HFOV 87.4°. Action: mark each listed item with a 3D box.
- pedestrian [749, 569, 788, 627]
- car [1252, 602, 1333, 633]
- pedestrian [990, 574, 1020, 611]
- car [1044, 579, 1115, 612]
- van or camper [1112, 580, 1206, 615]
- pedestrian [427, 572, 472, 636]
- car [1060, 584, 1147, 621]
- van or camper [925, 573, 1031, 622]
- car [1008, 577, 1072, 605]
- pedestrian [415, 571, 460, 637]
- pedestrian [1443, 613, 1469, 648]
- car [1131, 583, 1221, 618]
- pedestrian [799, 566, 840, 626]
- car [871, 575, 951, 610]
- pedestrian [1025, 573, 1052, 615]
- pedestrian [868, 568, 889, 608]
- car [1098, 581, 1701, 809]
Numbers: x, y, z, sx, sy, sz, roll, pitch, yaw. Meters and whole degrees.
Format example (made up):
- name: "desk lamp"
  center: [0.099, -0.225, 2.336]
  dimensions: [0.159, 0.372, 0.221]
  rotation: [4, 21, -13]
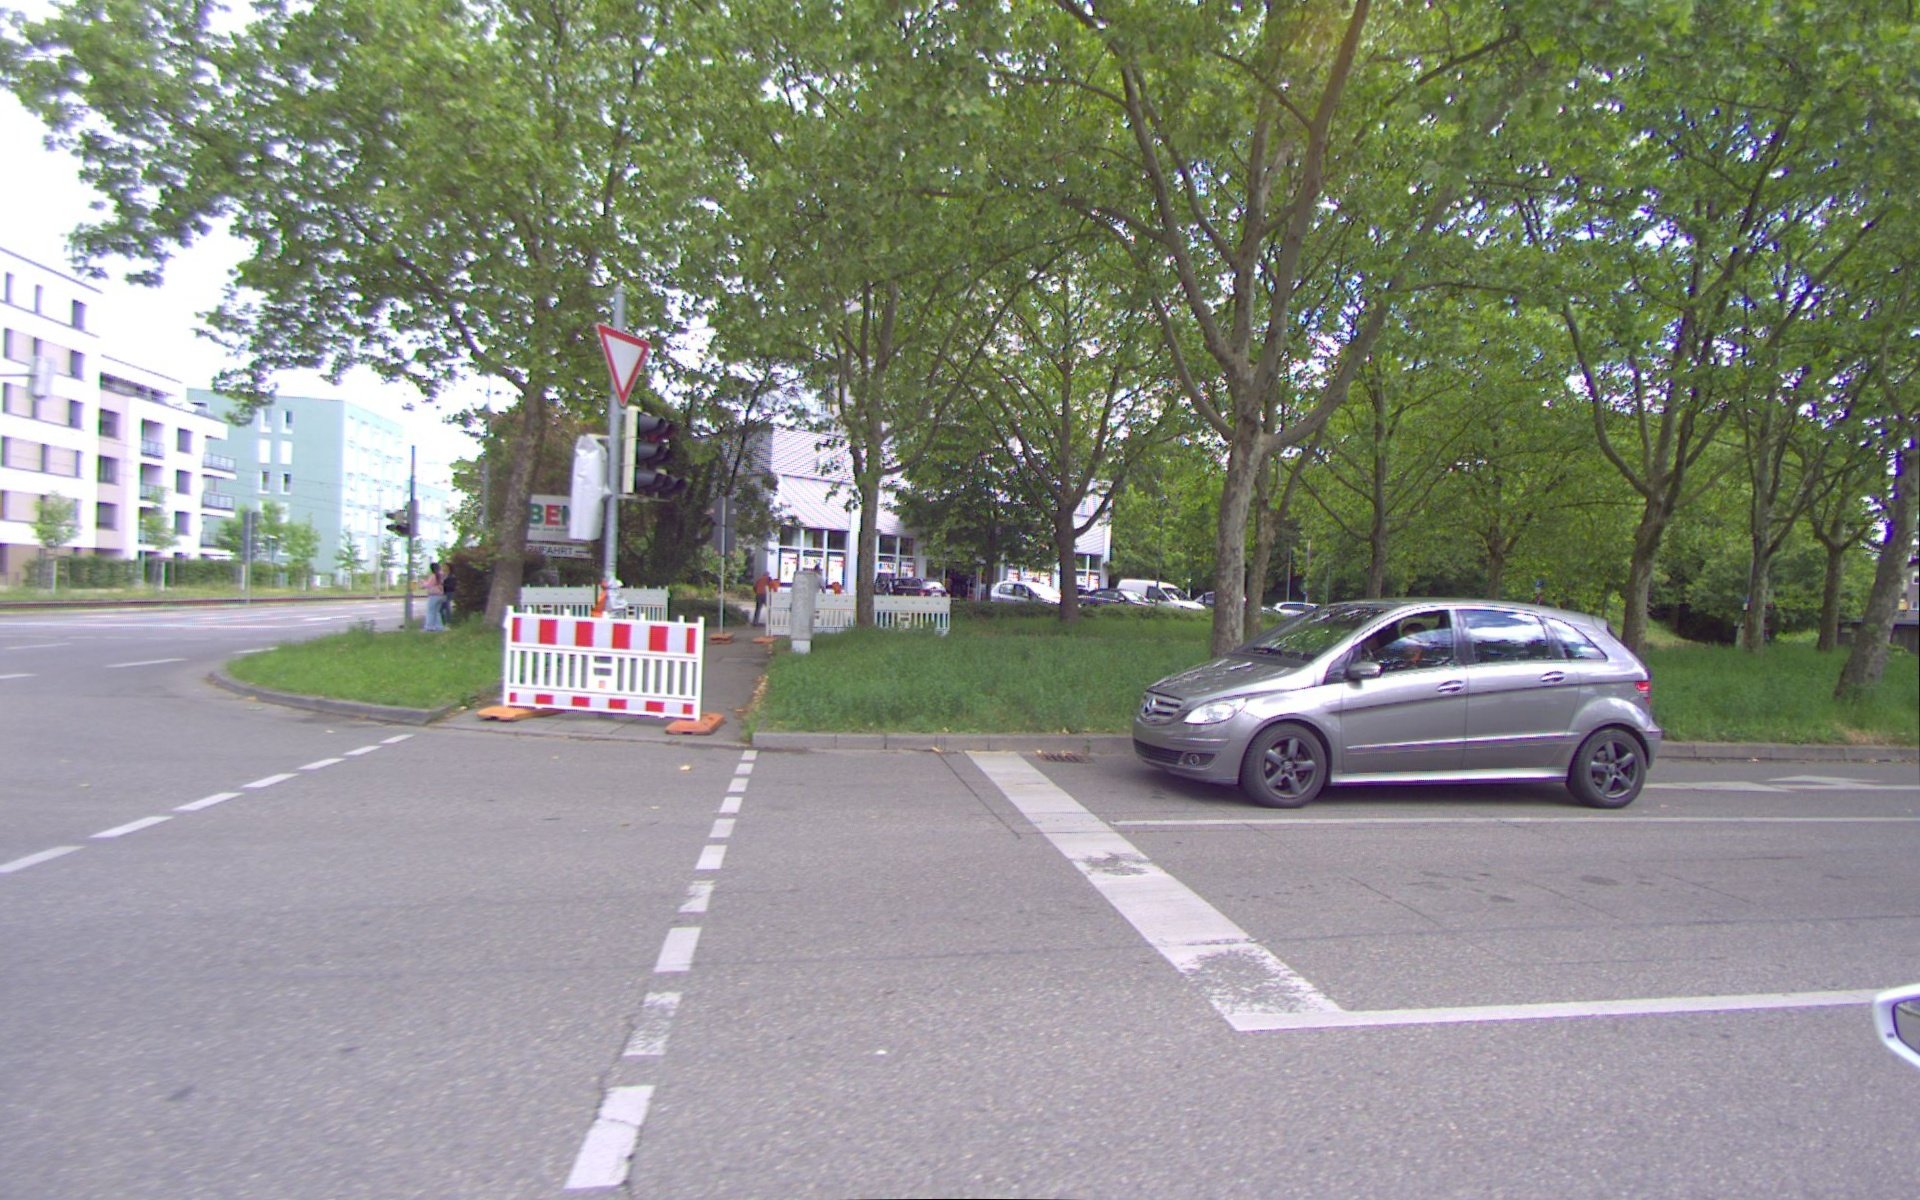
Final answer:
- name: "pedestrian"
  center: [-5.213, -0.054, 27.369]
  dimensions: [0.757, 1.559, 0.655]
  rotation: [2, 0, 20]
- name: "car"
  center: [17.288, 0.886, 52.394]
  dimensions: [1.717, 1.520, 3.708]
  rotation: [2, 0, -35]
- name: "pedestrian"
  center: [2.330, -0.379, 52.162]
  dimensions: [1.067, 1.896, 1.047]
  rotation: [2, 0, -40]
- name: "car"
  center: [6.562, -0.272, 55.565]
  dimensions: [1.659, 1.656, 3.778]
  rotation: [2, 1, -39]
- name: "van or camper"
  center: [8.346, -0.109, 42.415]
  dimensions: [1.507, 1.374, 3.729]
  rotation: [2, 0, -41]
- name: "pedestrian"
  center: [-12.254, 0.101, 24.141]
  dimensions: [0.706, 1.508, 0.699]
  rotation: [2, 0, -5]
- name: "car"
  center: [5.733, 0.088, 40.314]
  dimensions: [1.472, 1.423, 3.371]
  rotation: [2, 0, -38]
- name: "van or camper"
  center: [0.584, -0.121, 36.513]
  dimensions: [1.828, 1.706, 3.959]
  rotation: [1, 1, -36]
- name: "car"
  center: [4.233, -0.492, 53.509]
  dimensions: [1.472, 1.423, 3.369]
  rotation: [2, 0, -39]
- name: "pedestrian"
  center: [-12.174, 0.094, 23.416]
  dimensions: [0.675, 1.508, 0.699]
  rotation: [2, 0, -6]
- name: "pedestrian"
  center: [29.722, 1.831, 60.163]
  dimensions: [1.078, 1.976, 0.973]
  rotation: [3, 1, -45]
- name: "car"
  center: [9.593, 0.015, 44.909]
  dimensions: [1.472, 1.485, 3.847]
  rotation: [2, 0, -39]
- name: "pedestrian"
  center: [-3.846, -0.110, 27.525]
  dimensions: [0.780, 1.607, 0.851]
  rotation: [2, 0, 16]
- name: "car"
  center: [-2.317, -0.345, 46.679]
  dimensions: [1.717, 1.520, 4.226]
  rotation: [2, 0, -35]
- name: "pedestrian"
  center: [3.063, -0.236, 39.251]
  dimensions: [0.783, 1.607, 0.796]
  rotation: [2, 0, -17]
- name: "pedestrian"
  center: [-3.744, -0.551, 46.204]
  dimensions: [0.616, 1.768, 0.730]
  rotation: [2, 0, -44]
- name: "car"
  center: [3.515, 0.741, 8.354]
  dimensions: [4.333, 1.607, 1.769]
  rotation: [2, 0, -11]
